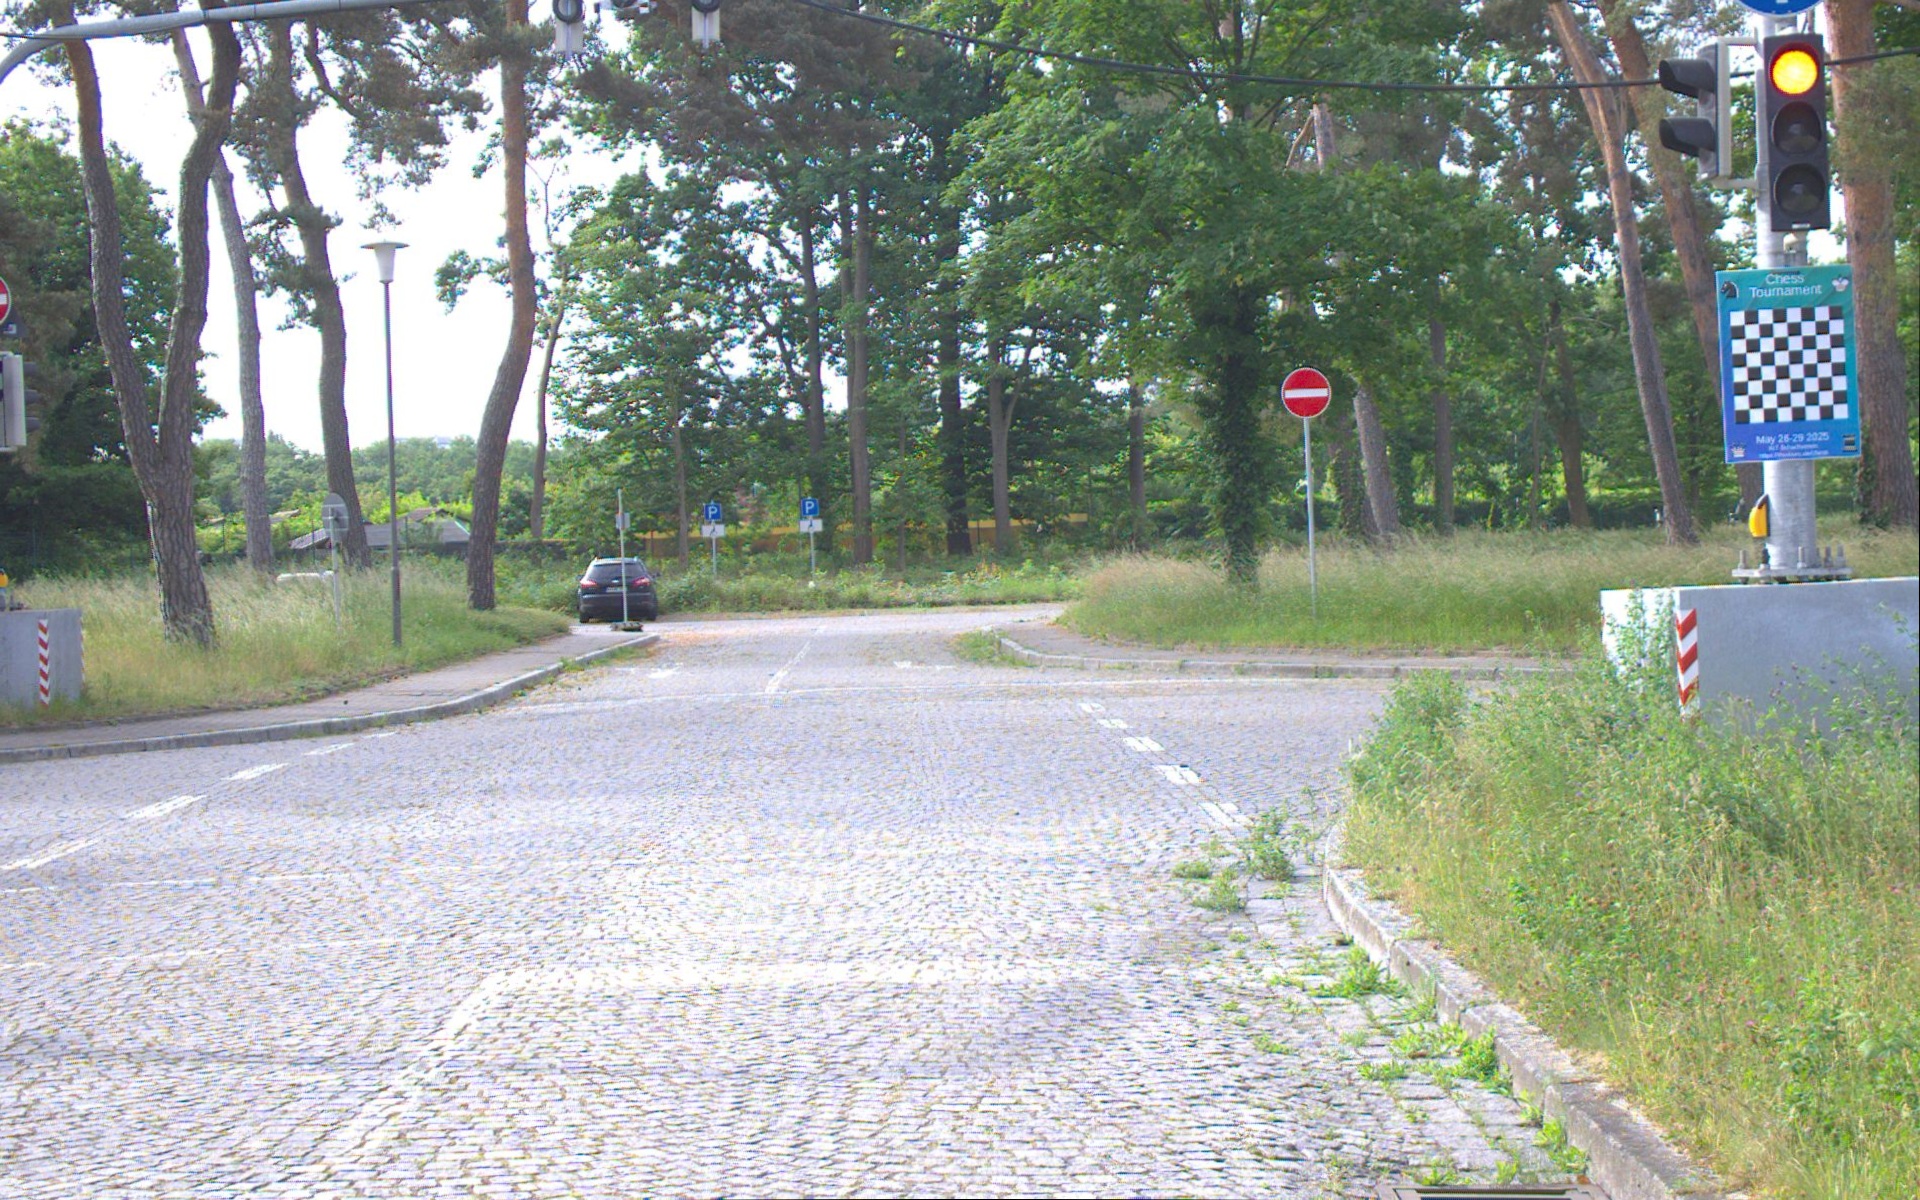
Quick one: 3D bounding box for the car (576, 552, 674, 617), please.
[{"bbox_3d":[-8.042,-0.401,82.880,1.993,1.503,4.000,0,1,0],"label":"car"}]
